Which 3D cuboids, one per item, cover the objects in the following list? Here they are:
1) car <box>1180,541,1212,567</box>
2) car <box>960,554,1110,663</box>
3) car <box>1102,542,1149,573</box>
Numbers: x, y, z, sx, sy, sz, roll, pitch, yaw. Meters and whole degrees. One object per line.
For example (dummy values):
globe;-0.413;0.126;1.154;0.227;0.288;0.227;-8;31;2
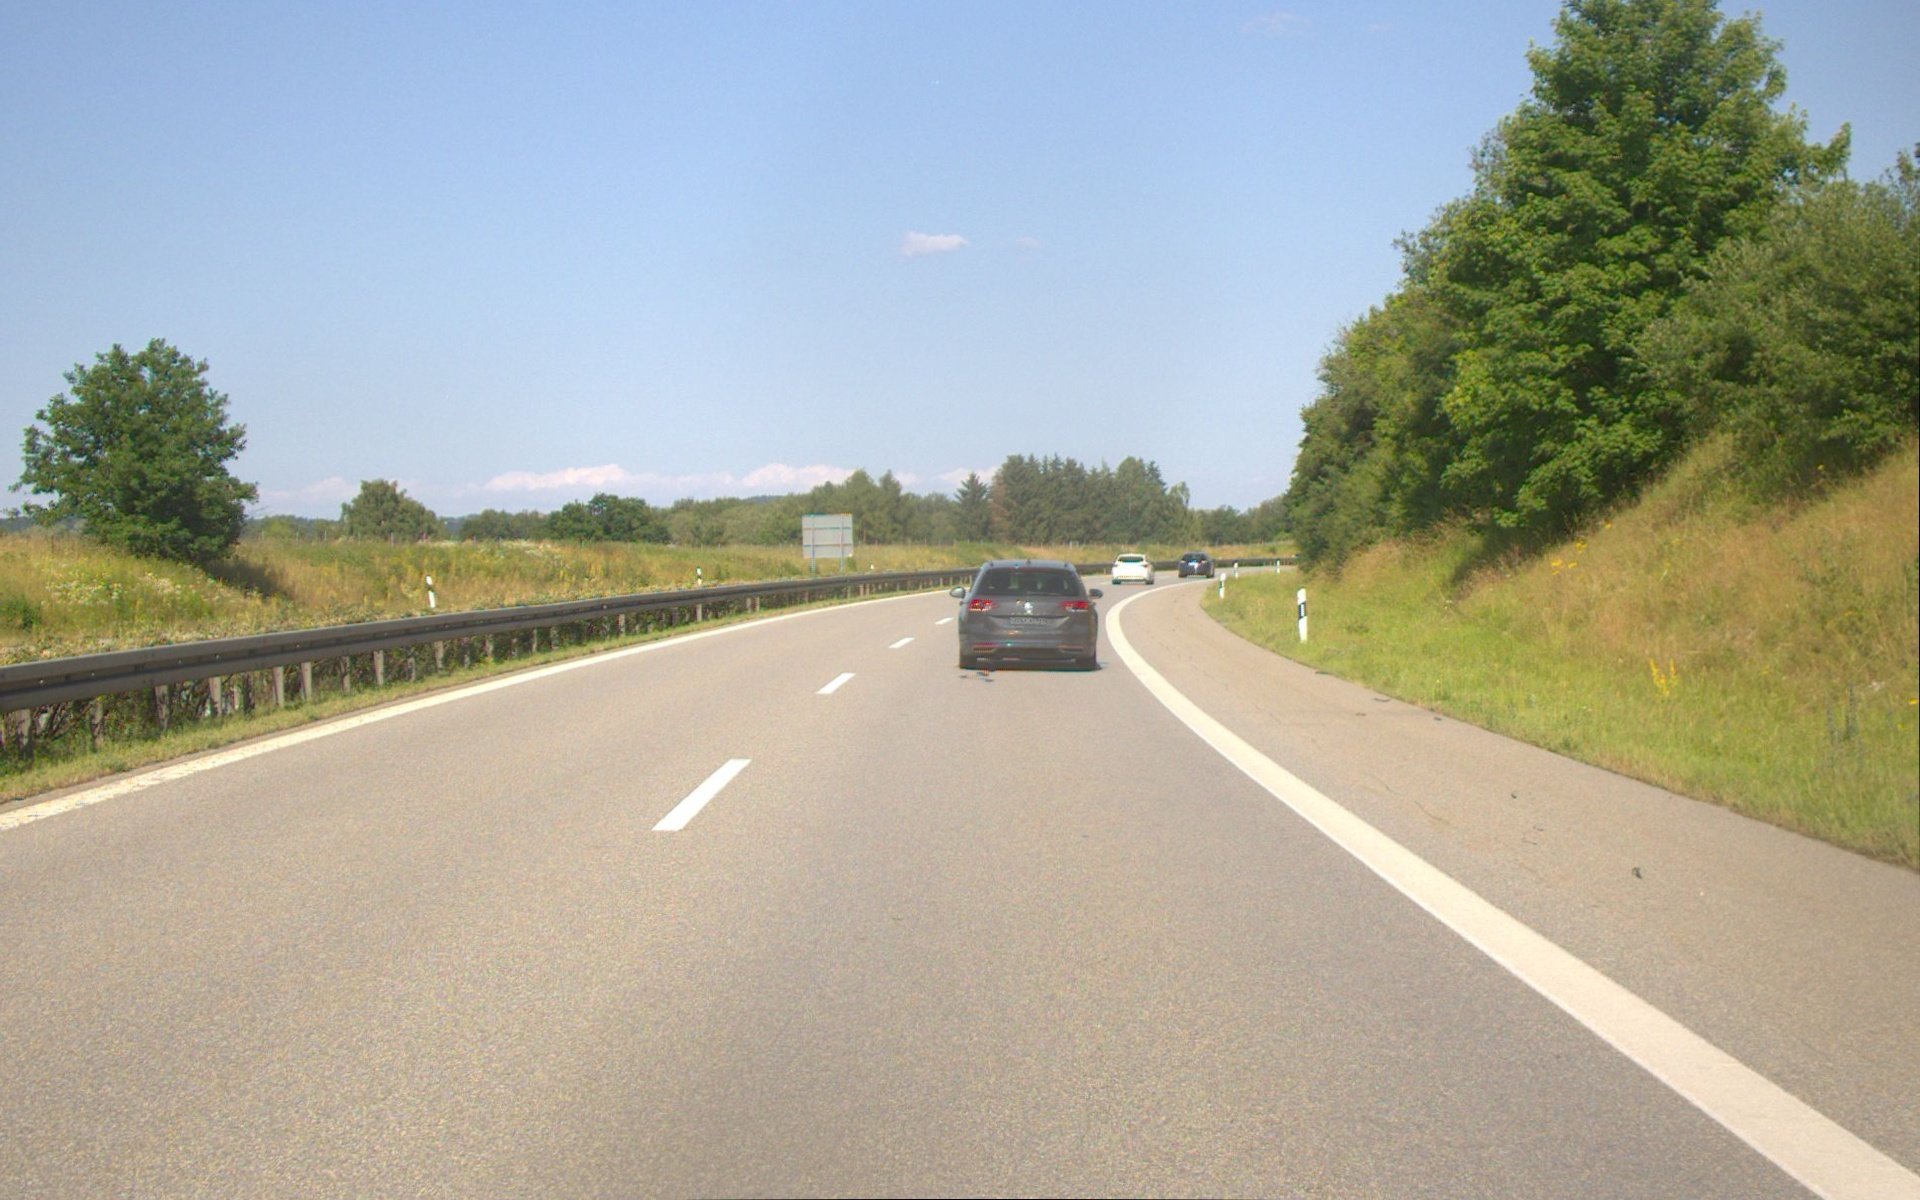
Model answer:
car;13.647;-2.656;198.549;1.711;1.382;3.354;2;0;6
car;0.938;0.080;45.082;1.791;1.340;4.000;0;1;-1
car;7.674;-1.954;159.205;2.007;1.340;3.999;2;0;5
